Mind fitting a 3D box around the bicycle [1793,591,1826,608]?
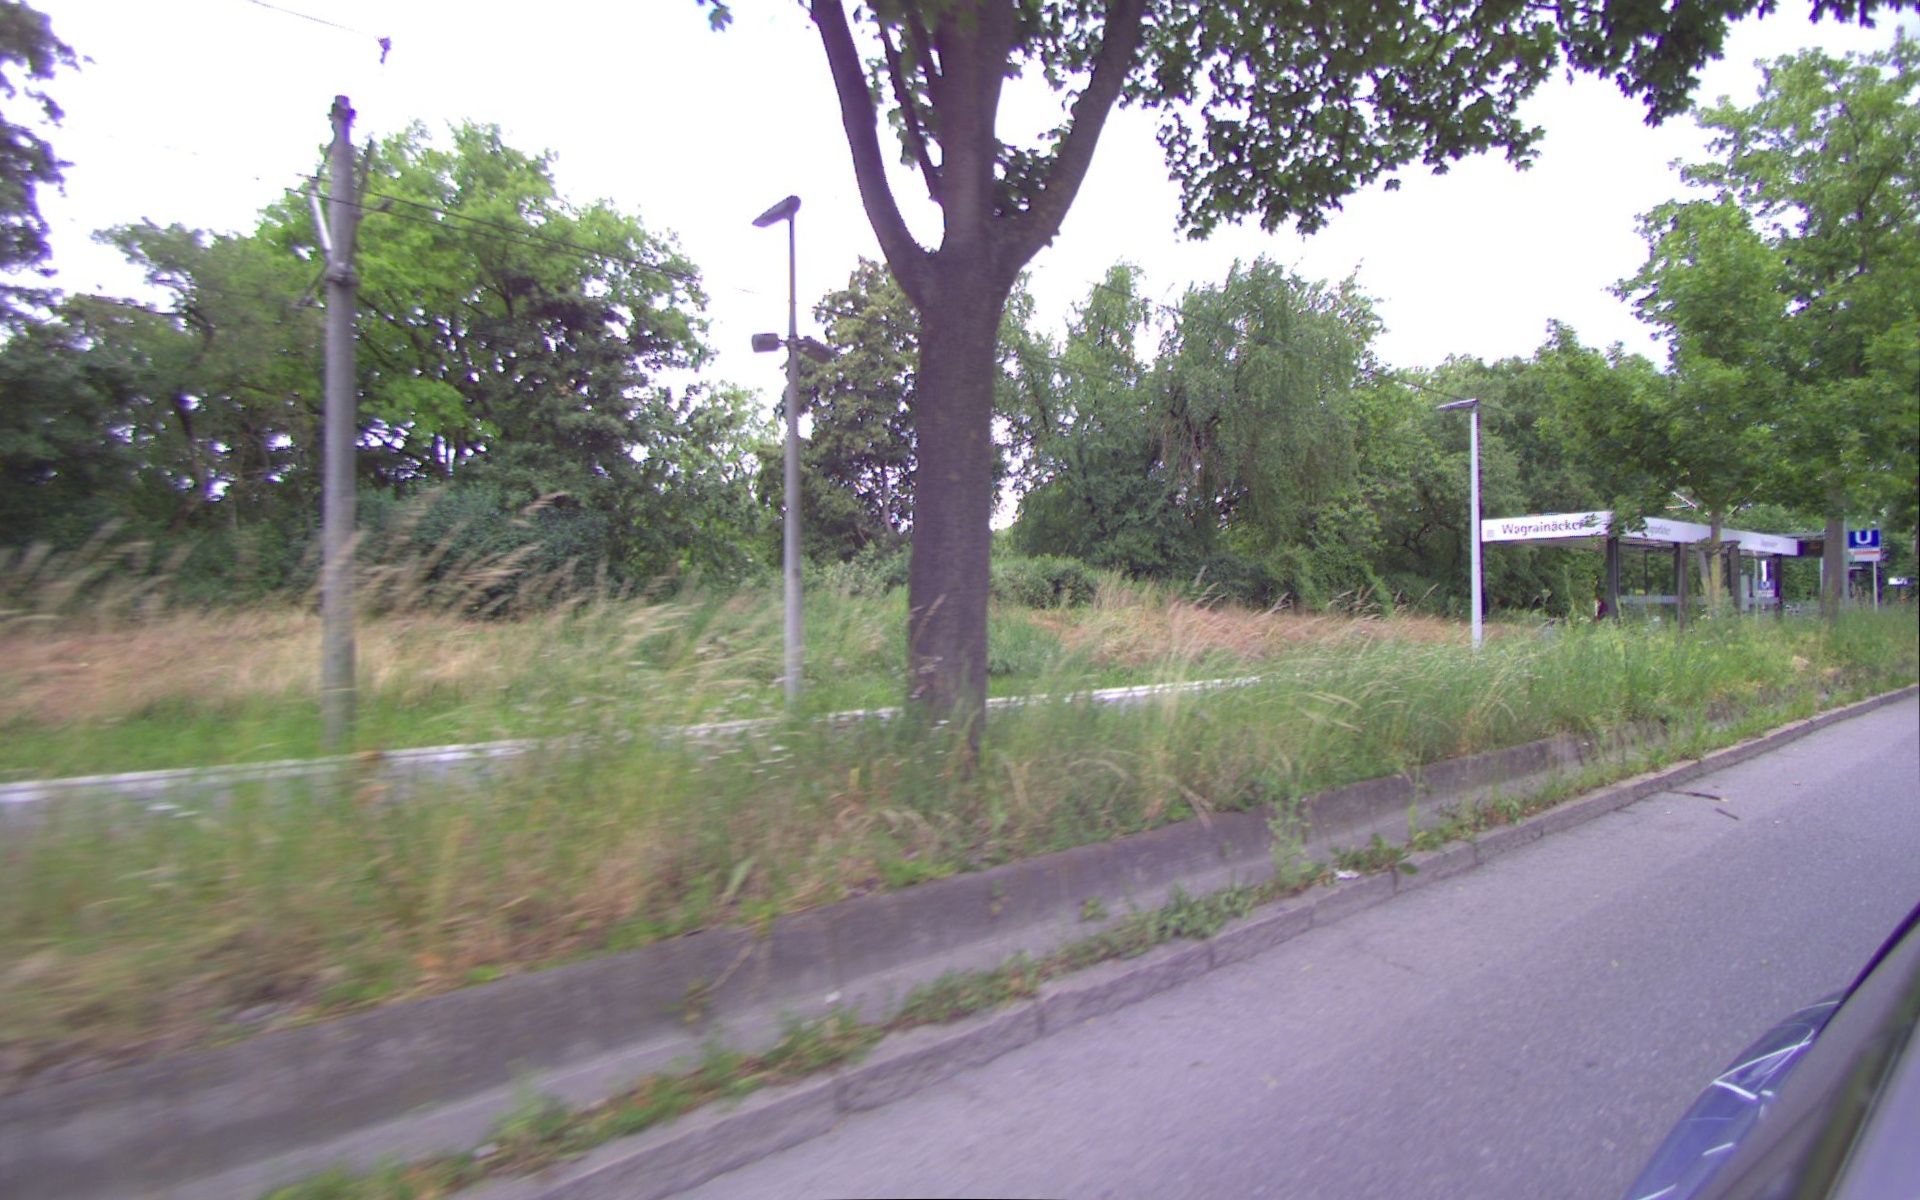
[{"bbox_3d":[53.551,-0.022,63.789,0.441,0.986,1.513,0,-3,-33],"label":"bicycle"}]
